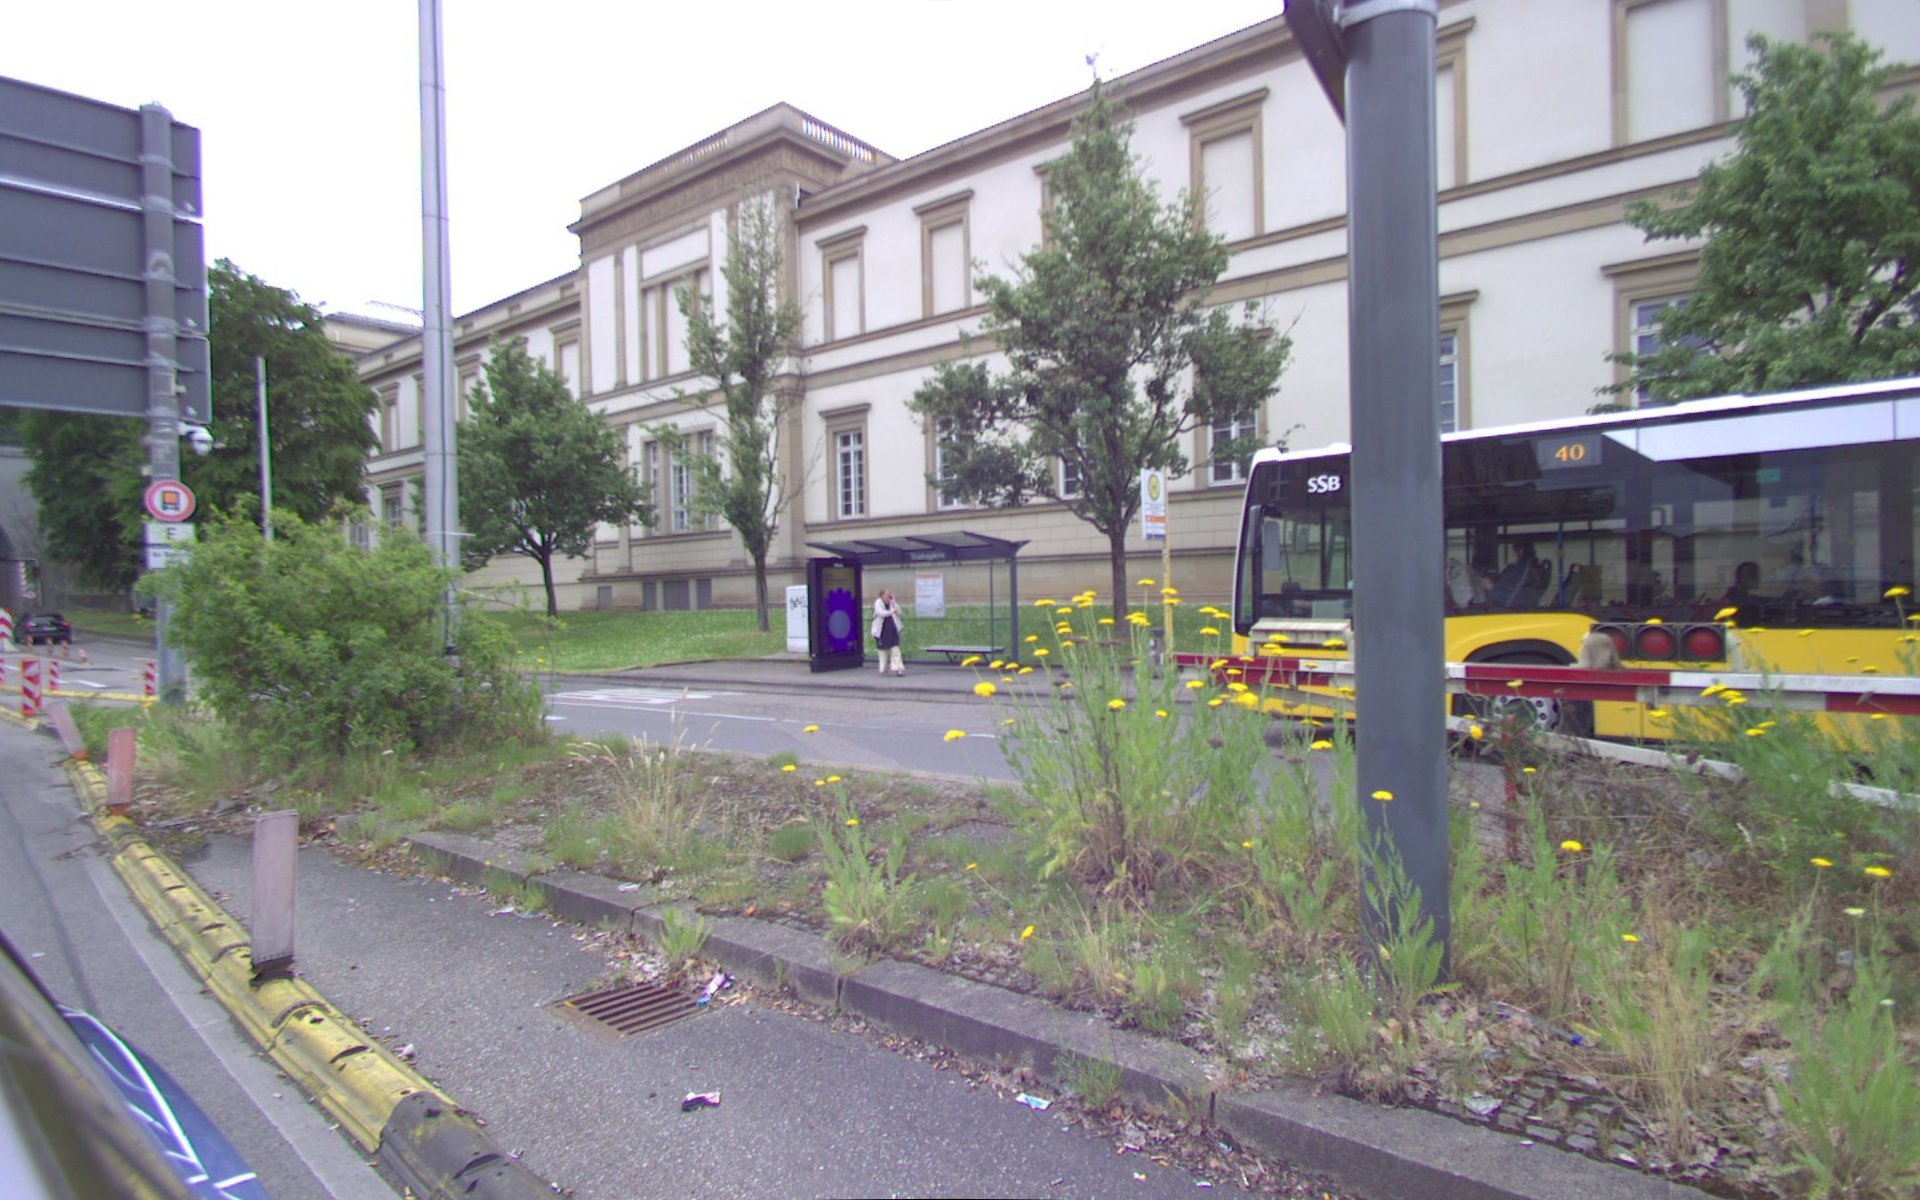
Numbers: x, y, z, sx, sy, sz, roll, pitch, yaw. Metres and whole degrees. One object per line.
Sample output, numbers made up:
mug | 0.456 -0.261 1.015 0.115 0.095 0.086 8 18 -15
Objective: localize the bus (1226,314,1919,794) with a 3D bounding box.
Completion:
bus | 7.177 -0.321 7.720 9.749 3.137 2.815 -2 0 43

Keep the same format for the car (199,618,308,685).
car | -17.809 1.258 25.478 2.820 1.563 1.520 -2 -1 38

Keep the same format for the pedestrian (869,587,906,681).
pedestrian | -1.356 0.620 18.844 0.578 1.708 0.460 -1 0 -15

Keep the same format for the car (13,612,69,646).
car | -44.915 1.426 49.445 3.881 1.603 1.645 -2 -2 42

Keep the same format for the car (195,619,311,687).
car | -18.210 1.308 26.004 3.881 1.603 1.645 -2 -2 42
